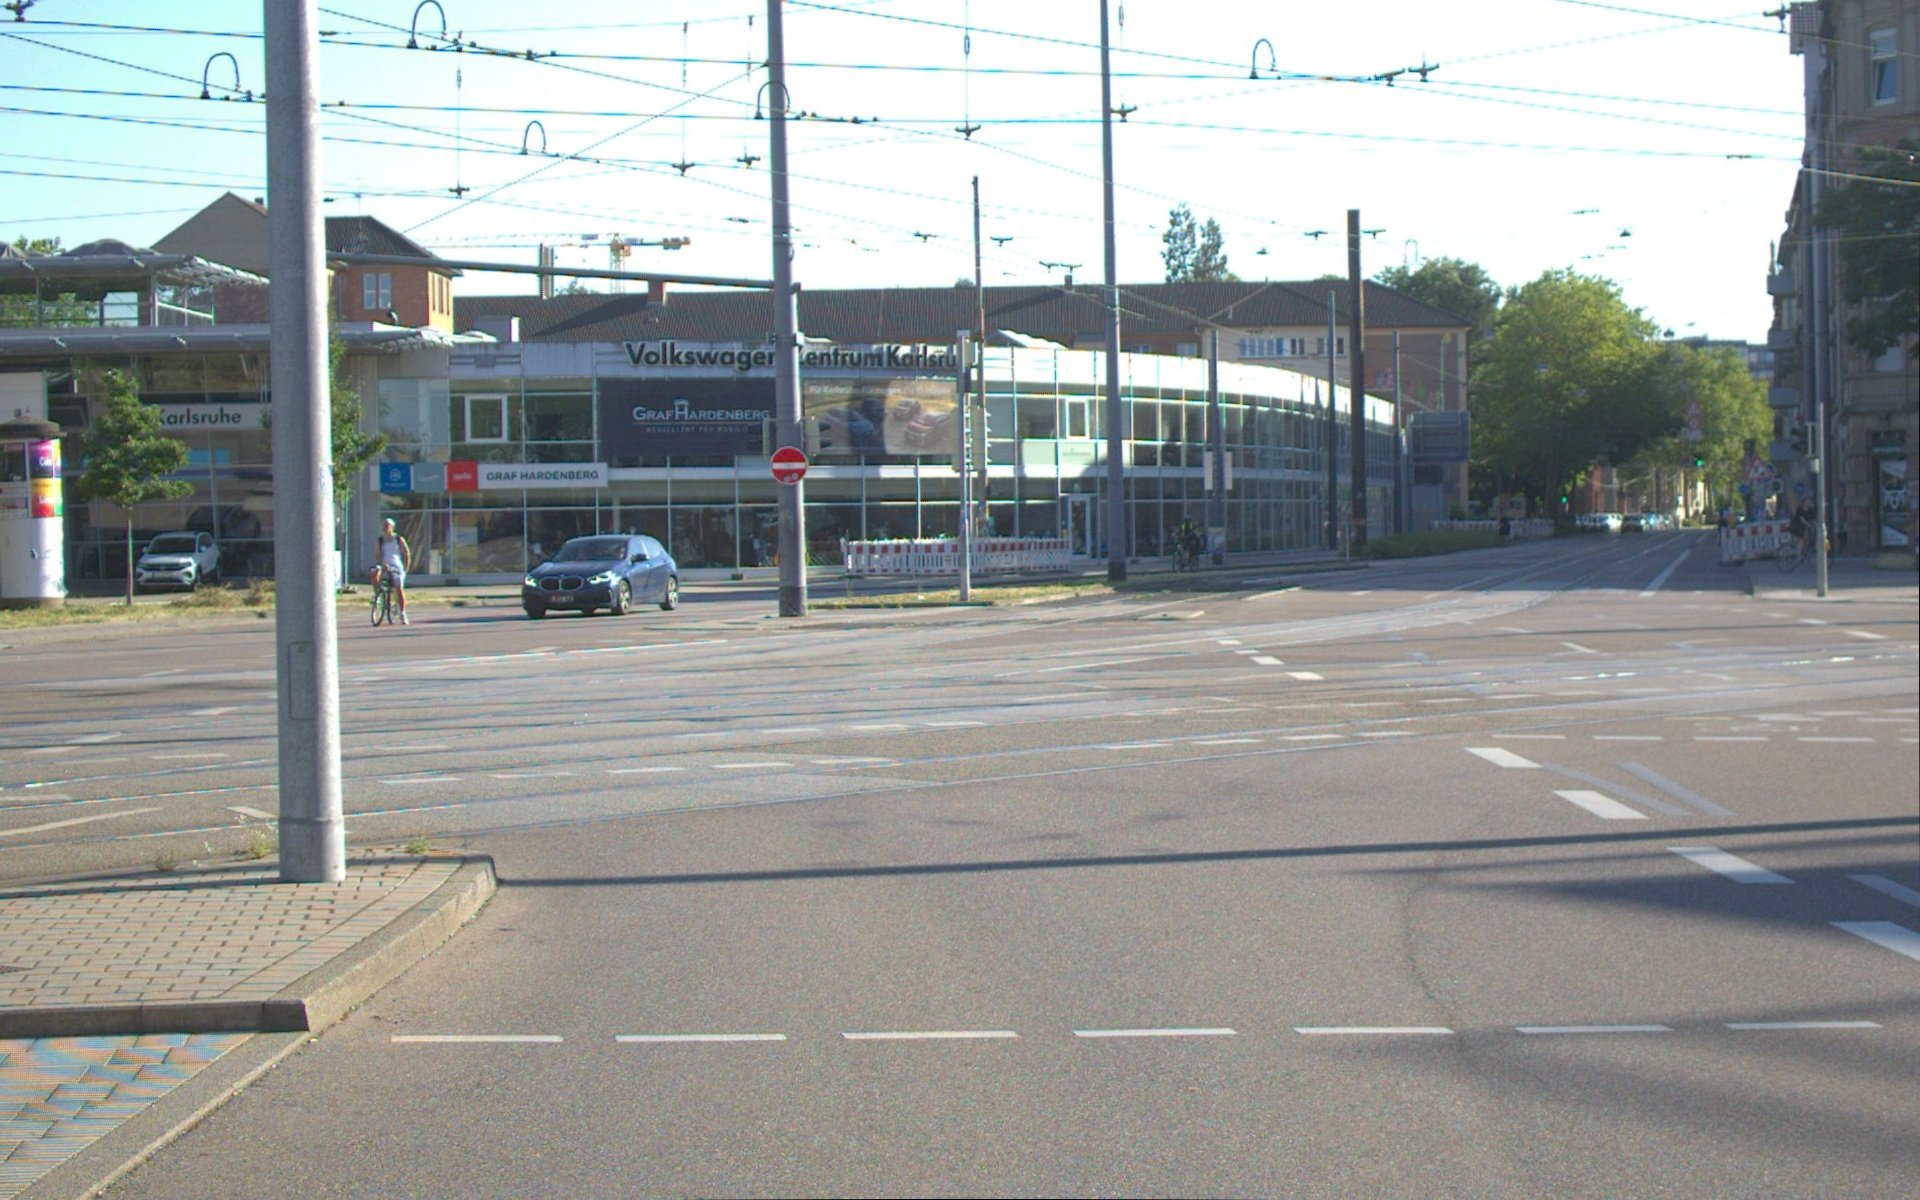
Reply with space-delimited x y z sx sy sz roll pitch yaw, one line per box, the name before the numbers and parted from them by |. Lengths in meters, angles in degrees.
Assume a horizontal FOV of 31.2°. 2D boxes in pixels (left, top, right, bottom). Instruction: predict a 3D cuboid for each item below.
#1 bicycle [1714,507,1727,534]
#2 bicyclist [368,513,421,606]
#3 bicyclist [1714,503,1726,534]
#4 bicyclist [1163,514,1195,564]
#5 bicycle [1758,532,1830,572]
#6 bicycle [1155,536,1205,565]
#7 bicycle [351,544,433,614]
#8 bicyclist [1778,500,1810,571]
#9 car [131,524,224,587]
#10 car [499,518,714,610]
bicycle | 27.506 -2.863 124.365 0.410 0.938 1.844 1 1 12
bicyclist | -9.827 -0.700 59.751 0.598 1.610 0.822 1 0 17
bicyclist | 27.489 -2.950 124.296 0.408 1.112 0.399 1 0 11
bicyclist | 6.904 -1.911 108.385 0.655 1.567 0.921 1 0 29
bicycle | 19.813 -1.145 81.698 0.657 0.949 1.600 0 1 -37
bicycle | 6.954 -1.555 108.482 0.639 0.867 2.231 1 1 29
bicycle | -9.854 -0.359 59.682 0.613 1.185 1.867 1 1 17
bicyclist | 19.822 -1.530 81.691 0.519 1.695 0.516 0 0 -37
car | -22.580 -1.282 99.320 1.993 1.744 4.001 1 1 -4
car | -6.299 -0.635 61.689 1.996 1.579 3.994 1 1 27
